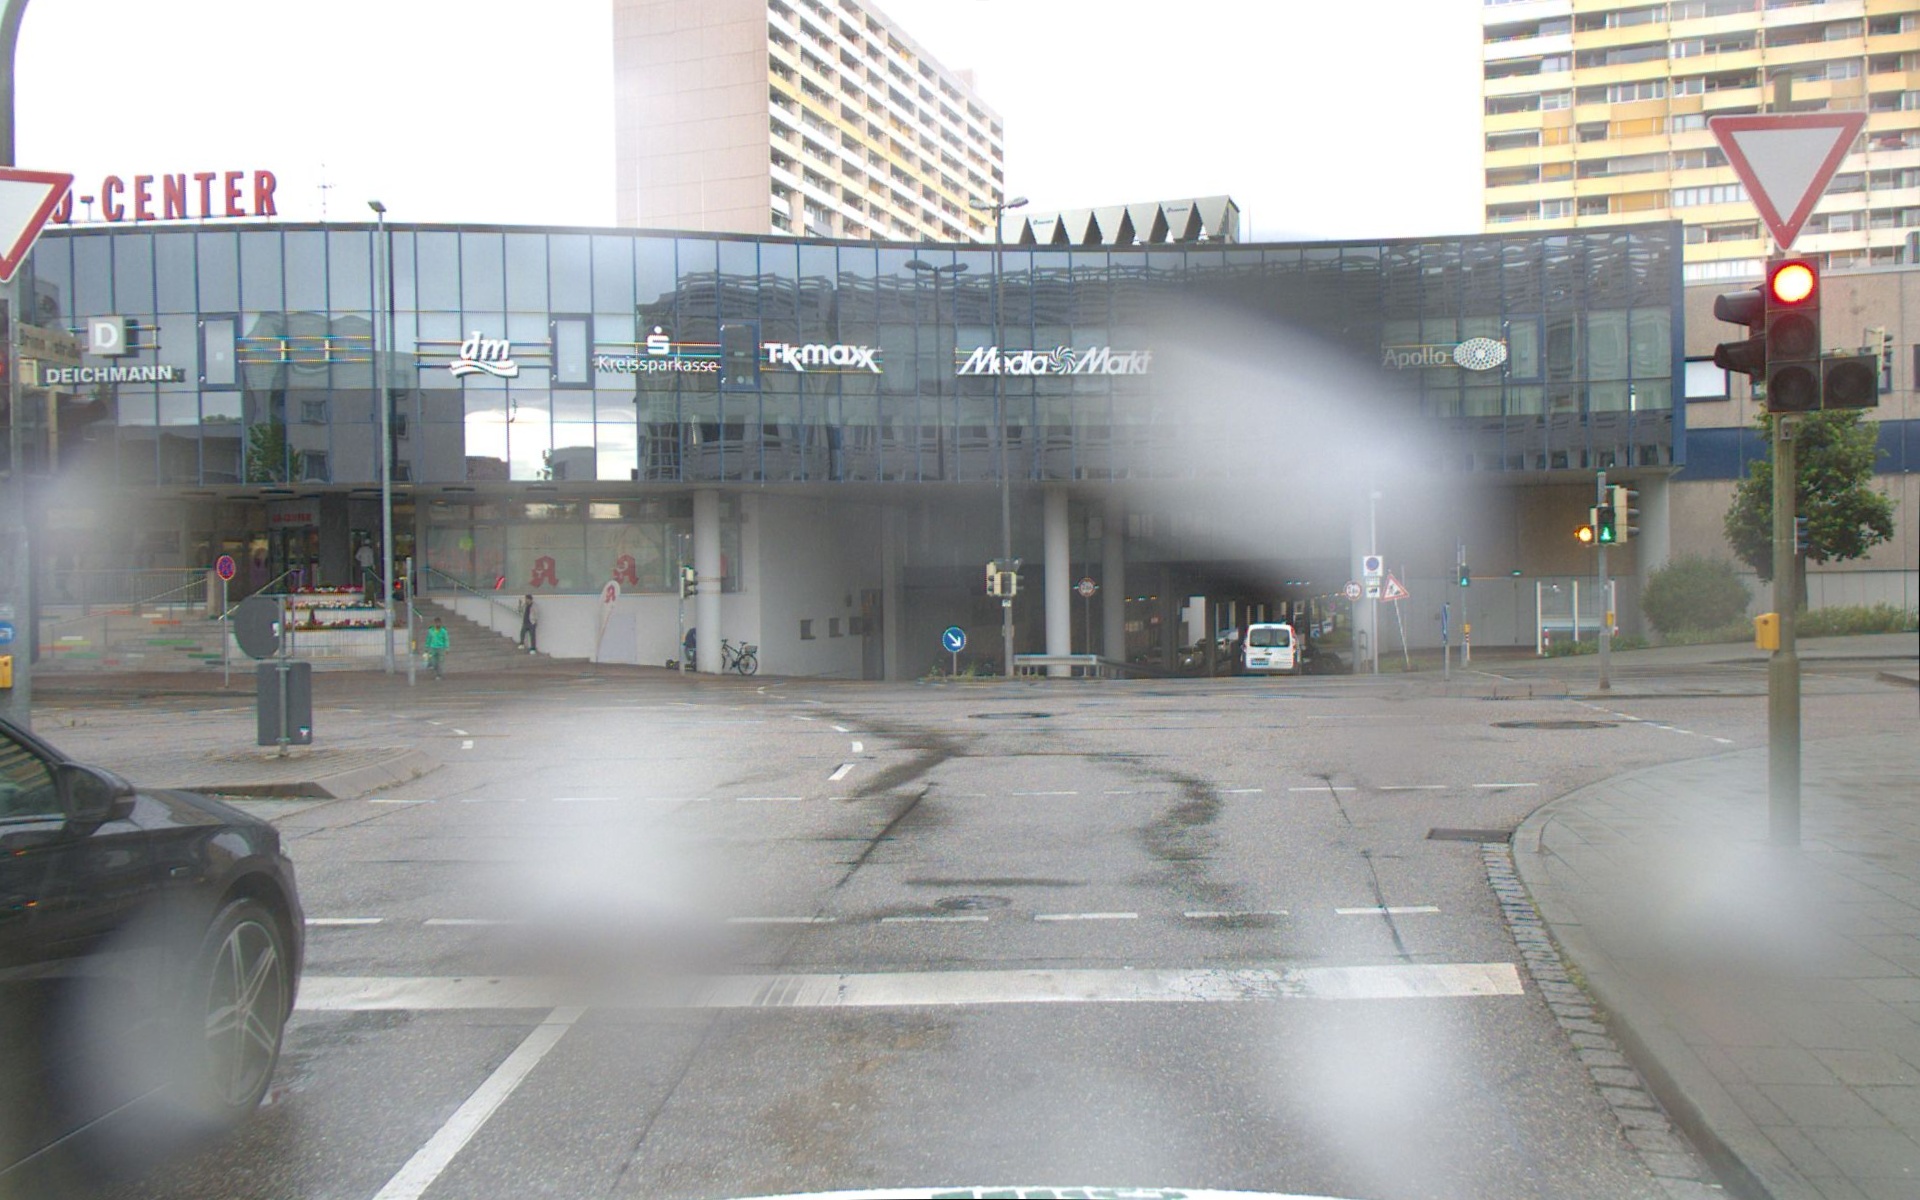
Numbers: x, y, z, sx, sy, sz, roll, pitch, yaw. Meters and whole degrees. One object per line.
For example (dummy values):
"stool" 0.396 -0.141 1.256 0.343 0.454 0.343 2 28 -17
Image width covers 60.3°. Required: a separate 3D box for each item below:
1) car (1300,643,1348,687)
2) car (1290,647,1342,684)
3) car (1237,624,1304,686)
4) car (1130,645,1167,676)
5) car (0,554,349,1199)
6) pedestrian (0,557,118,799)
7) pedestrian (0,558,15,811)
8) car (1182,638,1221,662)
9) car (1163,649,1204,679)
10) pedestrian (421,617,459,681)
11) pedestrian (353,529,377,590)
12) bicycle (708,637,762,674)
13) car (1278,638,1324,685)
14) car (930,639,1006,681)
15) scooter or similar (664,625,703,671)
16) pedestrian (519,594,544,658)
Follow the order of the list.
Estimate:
"car" 16.066 2.833 72.874 1.753 1.802 4.002 -2 -1 16
"car" 14.781 2.748 68.532 1.742 1.425 4.001 -2 -4 17
"car" 9.669 1.699 51.303 1.884 1.829 4.299 -1 -2 12
"car" 11.277 3.574 98.728 1.797 1.758 4.003 -1 -1 13
"car" -2.748 0.651 3.168 1.629 1.507 4.094 1 1 0
"pedestrian" -6.899 0.557 12.169 0.916 1.706 0.916 -1 0 1
"pedestrian" -6.978 0.585 11.242 0.662 1.714 0.801 -2 -1 45
"car" 16.380 3.357 112.048 1.951 1.489 4.002 -2 -1 17
"car" 14.156 4.025 104.448 1.951 1.693 4.002 1 0 17
"pedestrian" -13.904 1.296 44.207 0.934 1.651 0.805 -1 0 -18
"pedestrian" -18.464 -1.252 51.301 0.622 1.839 0.502 1 -1 -16
"bicycle" -7.043 1.737 51.775 1.564 1.035 0.448 6 -3 -29
"car" 13.140 2.390 63.642 1.598 1.640 4.265 -2 -4 12
"car" 0.357 2.410 65.502 1.853 1.495 4.028 -1 -5 18
"scooter or similar" -8.592 1.491 51.306 1.146 1.397 0.487 1 -1 -14
"pedestrian" -13.064 0.788 50.438 0.643 1.942 0.594 0 -1 -6
